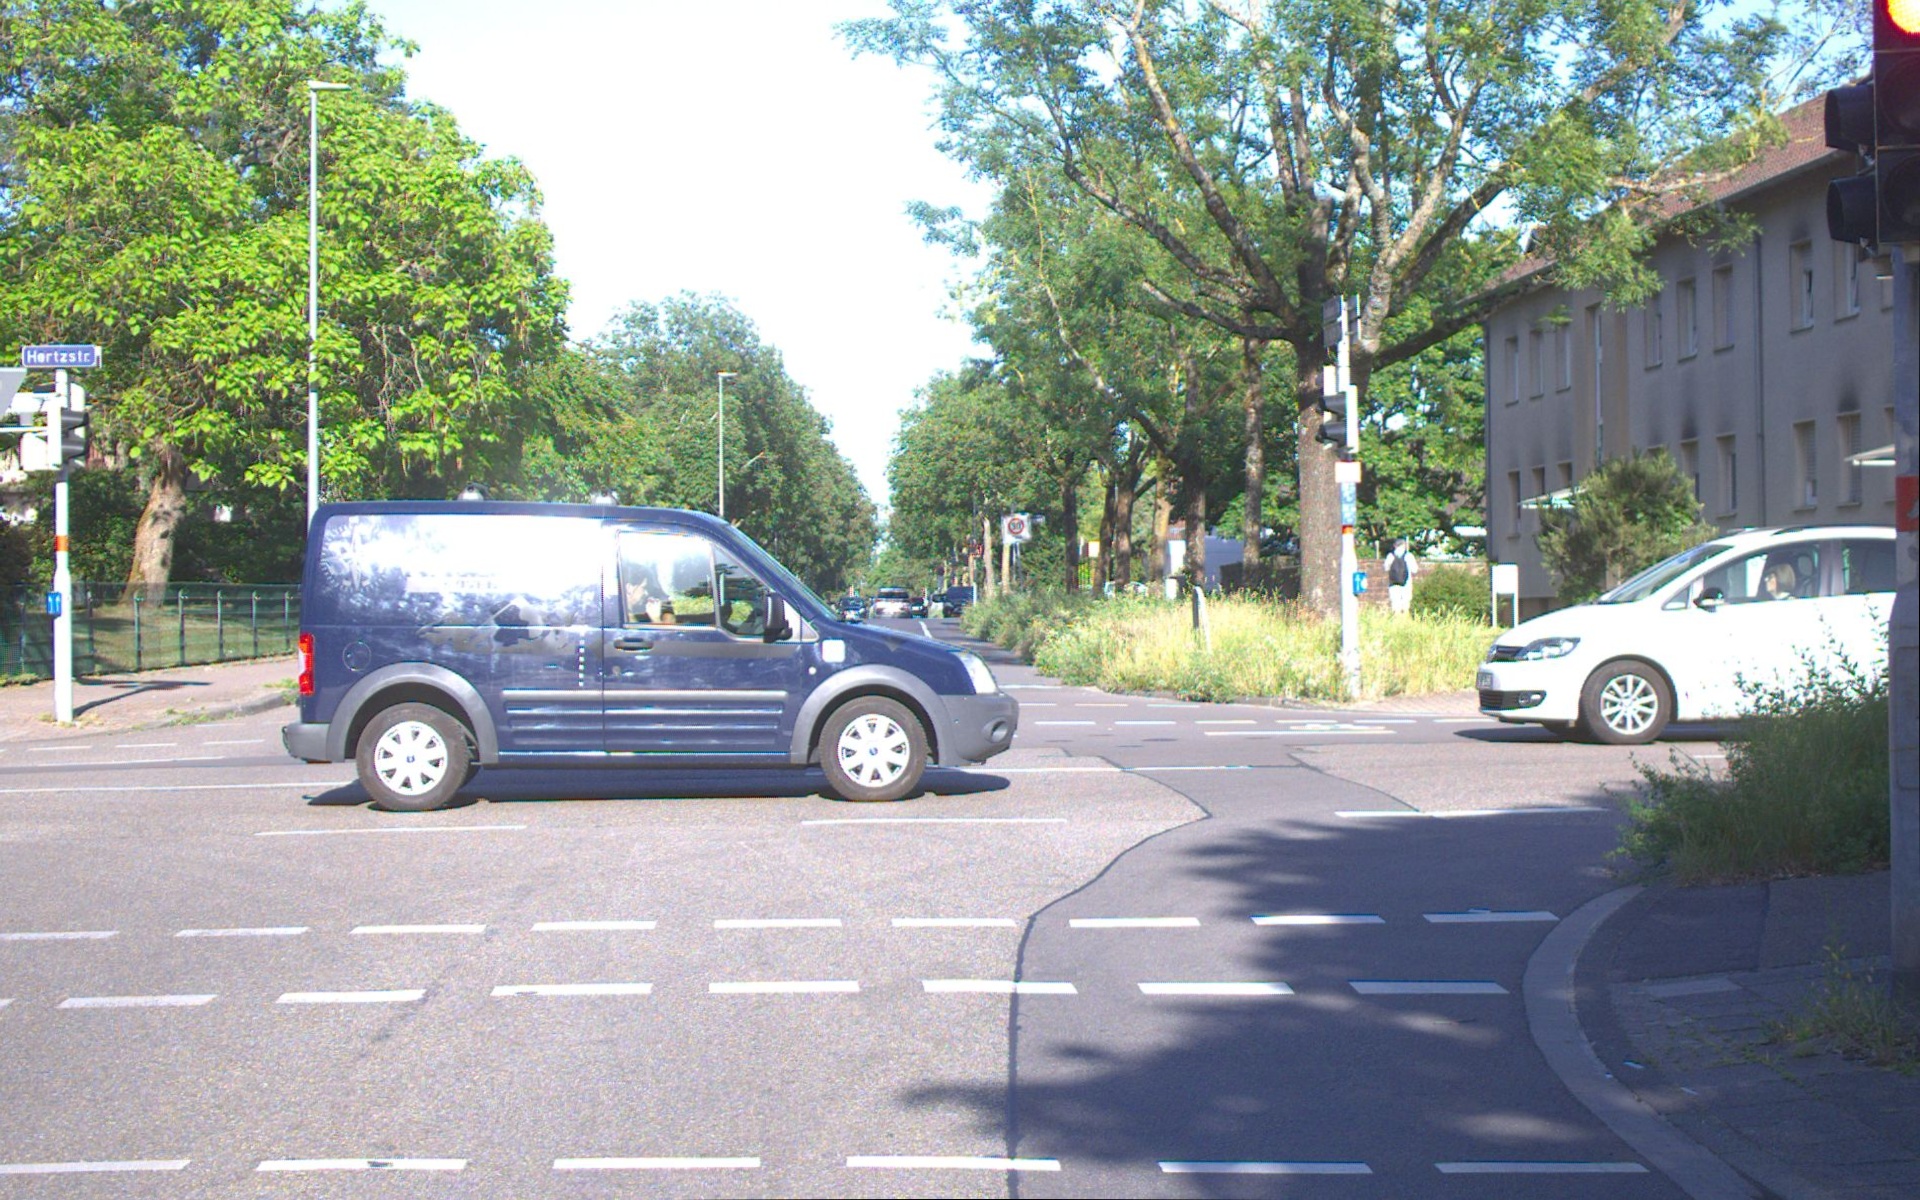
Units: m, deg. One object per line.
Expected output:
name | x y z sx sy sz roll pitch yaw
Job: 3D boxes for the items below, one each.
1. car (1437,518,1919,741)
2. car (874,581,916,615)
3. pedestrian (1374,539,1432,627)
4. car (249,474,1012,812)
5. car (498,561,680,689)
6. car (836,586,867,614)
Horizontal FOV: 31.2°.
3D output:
car | 5.775 0.213 25.527 4.106 1.558 1.758 1 0 -5
car | -2.897 -0.091 153.978 1.844 1.456 3.530 0 1 -1
pedestrian | 7.728 -0.303 59.976 0.842 1.488 0.924 2 1 -1
car | -1.946 0.223 20.701 4.344 1.881 1.860 -1 1 -4
car | -4.273 0.263 39.998 1.711 1.381 3.471 0 1 0
car | -6.564 -0.022 207.959 1.758 1.619 3.268 0 1 0
